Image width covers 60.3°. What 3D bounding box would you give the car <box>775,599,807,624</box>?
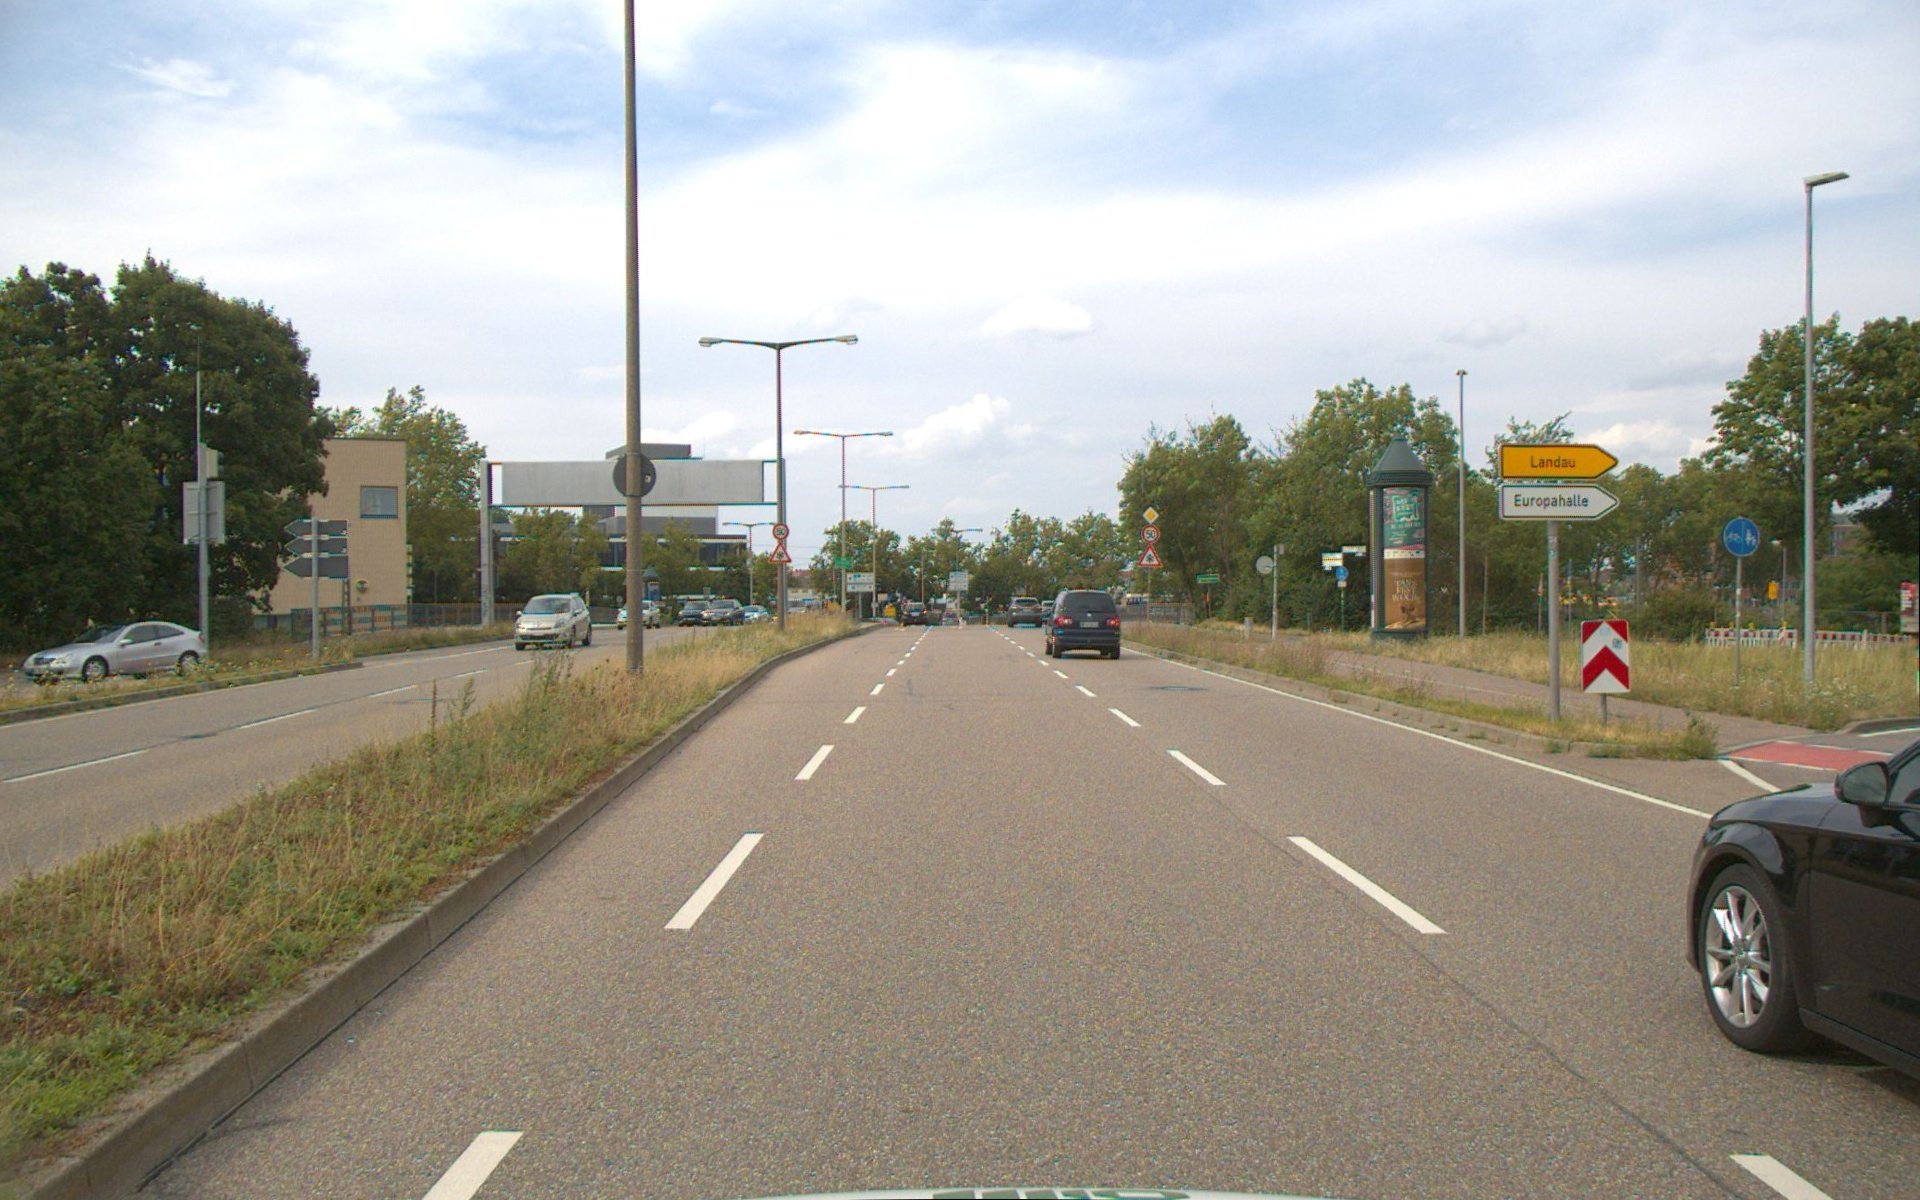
[{"bbox_3d":[-10.336,0.687,101.277,1.660,1.512,3.859,0,0,-2],"label":"car"}]

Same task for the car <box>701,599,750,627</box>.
[{"bbox_3d":[-12.973,0.723,91.588,1.630,1.450,4.521,-2,-1,5],"label":"car"}]

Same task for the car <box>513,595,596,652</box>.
[{"bbox_3d":[-12.687,0.693,51.947,1.710,1.626,4.562,-1,1,-4],"label":"car"}]

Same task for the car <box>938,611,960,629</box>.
[{"bbox_3d":[-0.995,1.815,151.797,1.697,1.553,4.111,0,0,-5],"label":"car"}]

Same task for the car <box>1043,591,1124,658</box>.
[{"bbox_3d":[3.192,0.600,43.357,1.695,1.682,4.114,0,0,-2],"label":"car"}]

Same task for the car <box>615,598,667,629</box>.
[{"bbox_3d":[-16.443,0.696,85.417,1.631,1.444,4.315,-3,-1,3],"label":"car"}]

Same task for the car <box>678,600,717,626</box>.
[{"bbox_3d":[-16.505,0.815,104.092,1.756,1.551,4.593,-2,-1,-1],"label":"car"}]

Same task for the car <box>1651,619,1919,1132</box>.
[{"bbox_3d":[3.573,0.800,4.358,1.695,1.419,4.114,0,0,-2],"label":"car"}]

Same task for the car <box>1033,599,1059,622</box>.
[{"bbox_3d":[5.794,0.702,111.468,1.476,1.472,3.139,1,1,-2],"label":"car"}]

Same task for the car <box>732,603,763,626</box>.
[{"bbox_3d":[-15.490,1.070,120.838,1.756,1.551,4.187,-2,-1,-1],"label":"car"}]

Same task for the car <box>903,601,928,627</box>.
[{"bbox_3d":[-3.048,0.944,113.742,1.695,1.682,4.114,0,0,-2],"label":"car"}]

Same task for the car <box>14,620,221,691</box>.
[{"bbox_3d":[-20.166,1.308,39.808,1.709,1.471,4.462,-1,1,20],"label":"car"}]

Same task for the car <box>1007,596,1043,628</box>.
[{"bbox_3d":[3.531,0.626,90.673,1.695,1.682,4.114,0,0,-2],"label":"car"}]
